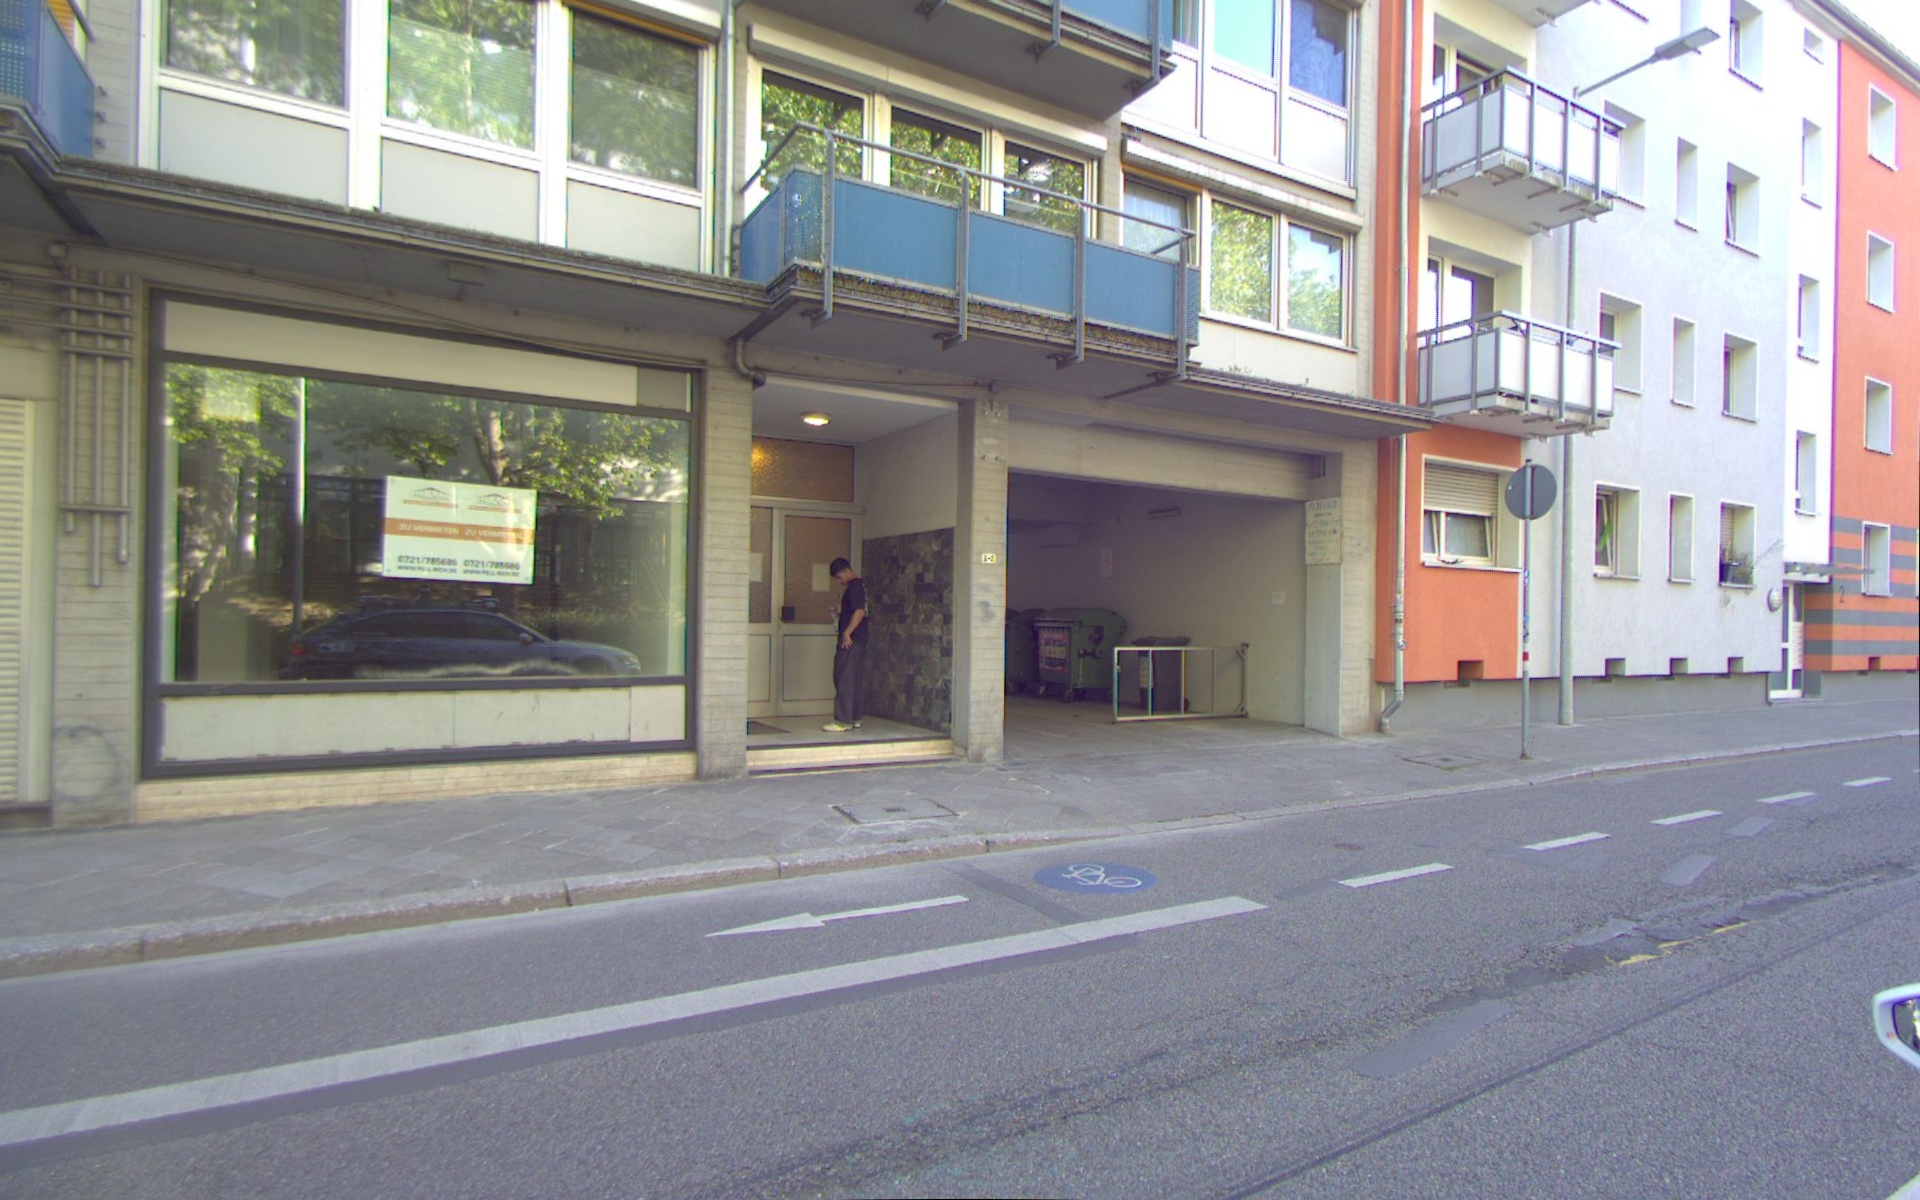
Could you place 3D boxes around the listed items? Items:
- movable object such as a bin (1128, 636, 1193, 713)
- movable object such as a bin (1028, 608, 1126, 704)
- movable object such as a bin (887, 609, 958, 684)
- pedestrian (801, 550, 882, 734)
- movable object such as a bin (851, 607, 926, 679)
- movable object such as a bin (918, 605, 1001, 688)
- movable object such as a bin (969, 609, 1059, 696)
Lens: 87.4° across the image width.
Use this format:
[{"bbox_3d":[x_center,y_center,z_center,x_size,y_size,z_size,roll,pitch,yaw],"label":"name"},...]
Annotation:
[{"bbox_3d":[2.887,1.055,14.458,0.704,1.054,0.583,1,0,-30],"label":"movable object such as a bin"},{"bbox_3d":[1.831,0.855,15.842,1.009,1.438,1.321,1,0,-23],"label":"movable object such as a bin"},{"bbox_3d":[-0.737,0.887,19.681,1.012,1.409,1.046,1,0,-31],"label":"movable object such as a bin"},{"bbox_3d":[-1.180,0.407,10.053,0.518,1.764,0.630,1,0,27],"label":"pedestrian"},{"bbox_3d":[-1.486,0.860,20.663,1.014,1.409,1.264,1,0,-37],"label":"movable object such as a bin"},{"bbox_3d":[-0.023,0.836,18.682,1.011,1.462,1.318,1,0,-29],"label":"movable object such as a bin"},{"bbox_3d":[0.905,0.876,17.169,1.011,1.409,1.319,1,0,-27],"label":"movable object such as a bin"}]
